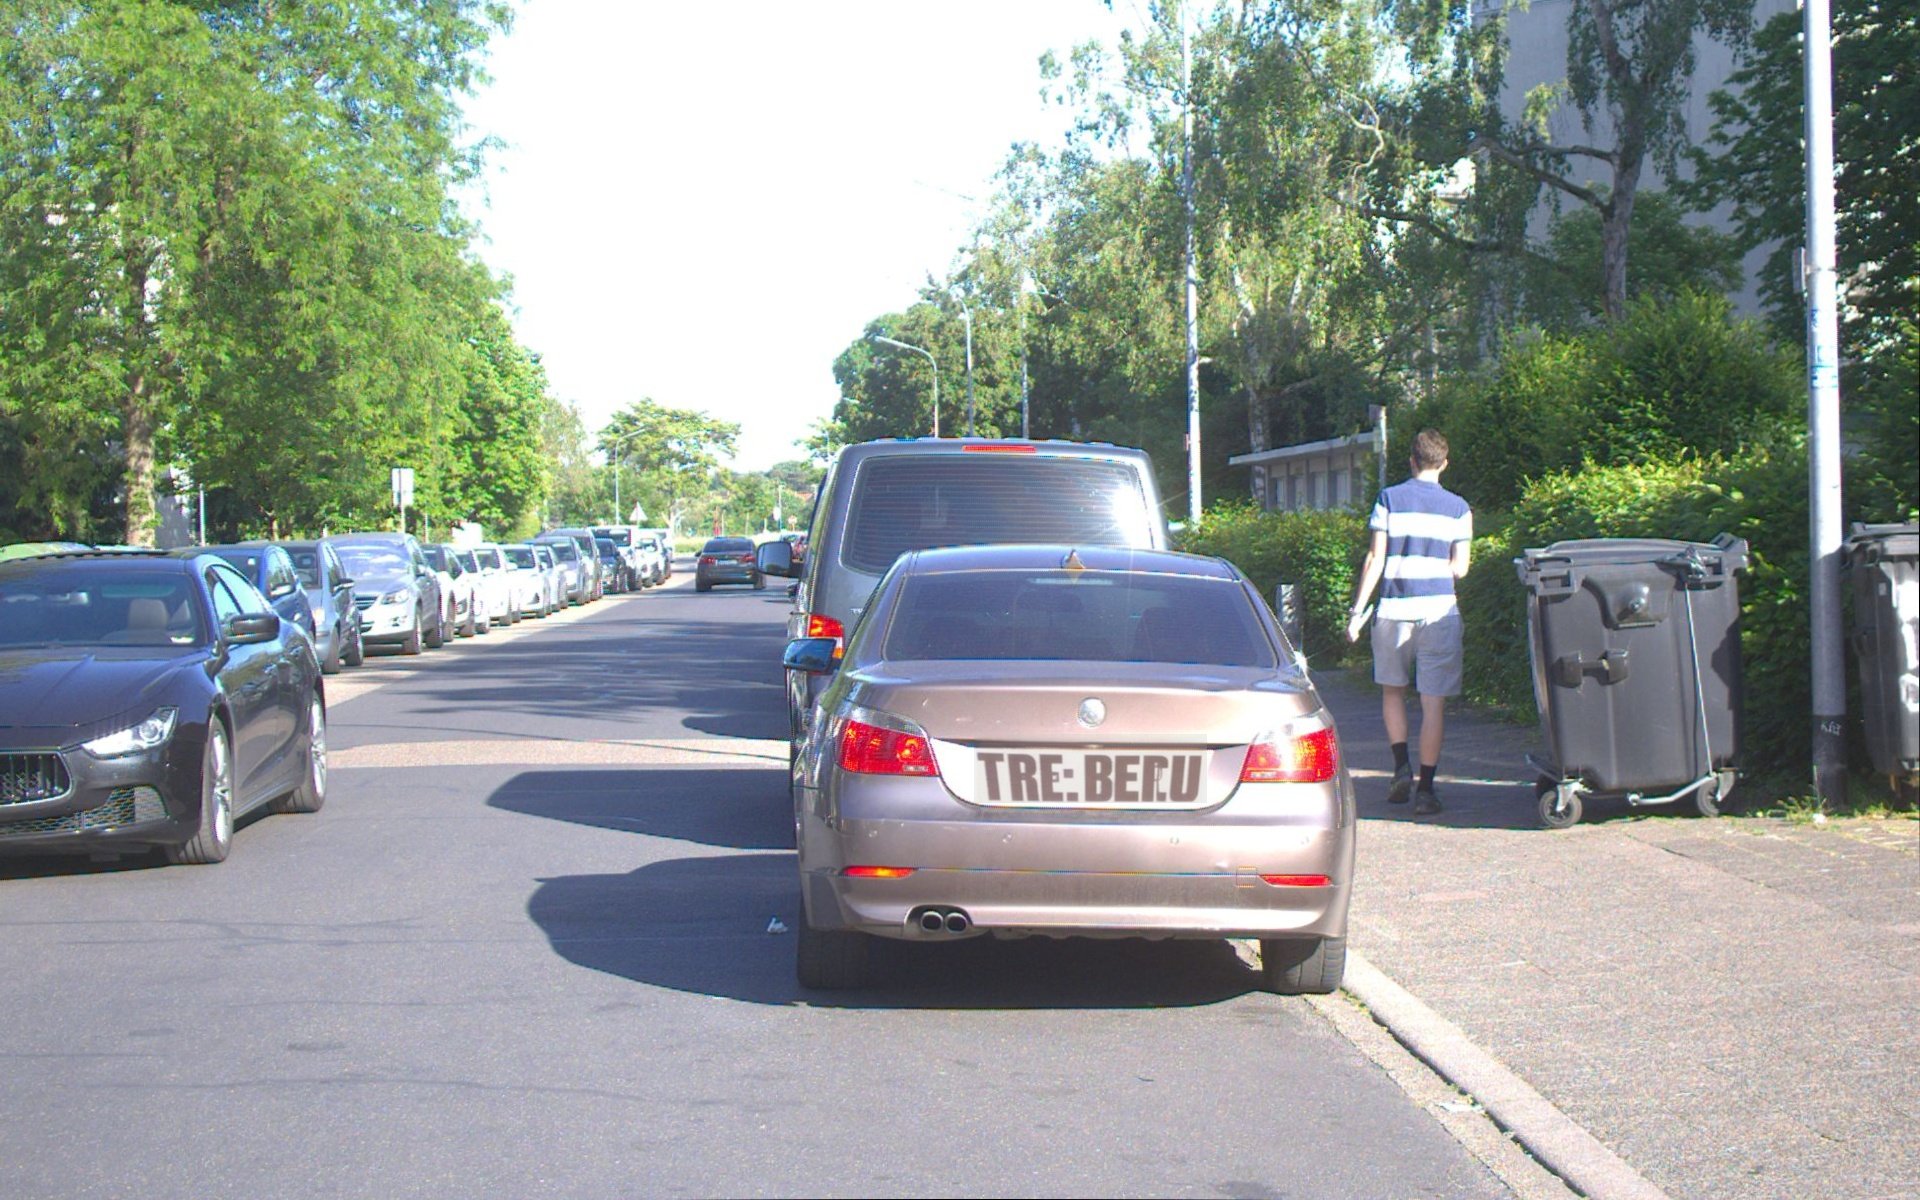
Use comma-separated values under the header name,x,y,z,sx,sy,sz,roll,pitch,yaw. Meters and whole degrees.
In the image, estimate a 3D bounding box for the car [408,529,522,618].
name,x,y,z,sx,sy,sz,roll,pitch,yaw
car,-9.101,-0.517,63.386,1.686,1.529,3.891,-2,1,-3

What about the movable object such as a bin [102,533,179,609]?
name,x,y,z,sx,sy,sz,roll,pitch,yaw
movable object such as a bin,-15.799,-0.562,66.306,1.134,1.416,1.361,1,1,-1

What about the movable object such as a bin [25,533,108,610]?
name,x,y,z,sx,sy,sz,roll,pitch,yaw
movable object such as a bin,-17.065,-0.548,65.682,1.177,1.416,1.462,2,1,0

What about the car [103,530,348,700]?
name,x,y,z,sx,sy,sz,roll,pitch,yaw
car,-7.685,0.108,36.289,1.754,1.600,3.969,-3,1,-2

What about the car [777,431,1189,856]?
name,x,y,z,sx,sy,sz,roll,pitch,yaw
car,-0.020,0.152,17.995,1.852,1.927,4.705,0,1,-3

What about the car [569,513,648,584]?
name,x,y,z,sx,sy,sz,roll,pitch,yaw
car,-10.320,-1.534,101.107,1.914,1.956,5.088,-2,1,-2

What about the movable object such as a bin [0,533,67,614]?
name,x,y,z,sx,sy,sz,roll,pitch,yaw
movable object such as a bin,-16.976,-0.484,62.308,1.177,1.416,1.462,2,1,0

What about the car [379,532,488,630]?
name,x,y,z,sx,sy,sz,roll,pitch,yaw
car,-8.706,-0.342,56.878,1.662,1.508,3.539,-2,1,-9

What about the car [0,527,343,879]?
name,x,y,z,sx,sy,sz,roll,pitch,yaw
car,-4.336,0.407,17.009,1.910,1.471,4.571,-2,1,-3

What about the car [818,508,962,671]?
name,x,y,z,sx,sy,sz,roll,pitch,yaw
car,-0.795,-0.136,37.658,1.488,1.712,2.583,0,1,-3

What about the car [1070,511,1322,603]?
name,x,y,z,sx,sy,sz,roll,pitch,yaw
car,4.324,-0.802,63.406,4.414,1.508,1.829,-2,1,-2

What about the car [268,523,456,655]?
name,x,y,z,sx,sy,sz,roll,pitch,yaw
car,-8.026,-0.190,46.508,1.903,1.634,4.349,-2,1,-2

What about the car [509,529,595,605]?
name,x,y,z,sx,sy,sz,roll,pitch,yaw
car,-9.414,-0.785,79.497,1.709,1.595,3.986,-3,1,-4

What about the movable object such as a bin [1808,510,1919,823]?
name,x,y,z,sx,sy,sz,roll,pitch,yaw
movable object such as a bin,4.590,0.269,15.544,1.223,1.360,1.133,-1,1,1

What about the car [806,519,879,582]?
name,x,y,z,sx,sy,sz,roll,pitch,yaw
car,-3.183,-1.349,92.357,1.908,1.634,4.629,0,1,-2

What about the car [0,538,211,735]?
name,x,y,z,sx,sy,sz,roll,pitch,yaw
car,-7.642,0.281,30.372,1.444,1.568,3.143,-3,1,-3

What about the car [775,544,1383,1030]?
name,x,y,z,sx,sy,sz,roll,pitch,yaw
car,0.317,0.516,12.496,1.801,1.414,4.636,0,1,-1

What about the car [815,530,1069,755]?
name,x,y,z,sx,sy,sz,roll,pitch,yaw
car,-0.205,0.242,24.879,1.622,1.484,4.037,0,1,-3

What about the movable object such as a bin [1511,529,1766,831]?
name,x,y,z,sx,sy,sz,roll,pitch,yaw
movable object such as a bin,3.214,0.354,16.424,1.026,1.305,1.386,-4,1,8

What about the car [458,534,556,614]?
name,x,y,z,sx,sy,sz,roll,pitch,yaw
car,-9.076,-0.542,69.054,1.686,1.500,3.818,-2,1,-4

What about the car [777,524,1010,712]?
name,x,y,z,sx,sy,sz,roll,pitch,yaw
car,-0.662,0.098,30.596,1.731,1.484,4.502,-2,1,-5

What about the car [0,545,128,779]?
name,x,y,z,sx,sy,sz,roll,pitch,yaw
car,-7.209,0.412,24.272,1.754,1.476,4.538,-3,1,-4

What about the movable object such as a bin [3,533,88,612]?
name,x,y,z,sx,sy,sz,roll,pitch,yaw
movable object such as a bin,-17.066,-0.525,64.161,1.177,1.416,1.462,2,1,0

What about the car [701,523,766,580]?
name,x,y,z,sx,sy,sz,roll,pitch,yaw
car,-6.224,-1.346,94.197,1.679,1.508,4.105,1,1,-5

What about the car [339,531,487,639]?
name,x,y,z,sx,sy,sz,roll,pitch,yaw
car,-8.265,-0.263,52.196,1.662,1.508,3.946,-2,1,-1

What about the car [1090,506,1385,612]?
name,x,y,z,sx,sy,sz,roll,pitch,yaw
car,4.423,-0.668,55.197,4.513,1.508,1.829,-2,1,-1

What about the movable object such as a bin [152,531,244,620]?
name,x,y,z,sx,sy,sz,roll,pitch,yaw
movable object such as a bin,-12.142,-0.399,54.797,1.136,1.378,1.442,1,1,-1

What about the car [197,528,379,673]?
name,x,y,z,sx,sy,sz,roll,pitch,yaw
car,-8.001,-0.036,41.185,1.635,1.600,3.535,-2,1,-3

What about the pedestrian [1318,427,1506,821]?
name,x,y,z,sx,sy,sz,roll,pitch,yaw
pedestrian,2.248,0.110,17.179,0.703,1.882,0.872,-3,1,-1

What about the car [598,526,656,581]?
name,x,y,z,sx,sy,sz,roll,pitch,yaw
car,-10.587,-1.491,109.437,1.746,1.664,4.379,-2,1,-5

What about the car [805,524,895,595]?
name,x,y,z,sx,sy,sz,roll,pitch,yaw
car,-2.461,-0.911,76.010,1.753,1.508,4.105,1,1,-5
